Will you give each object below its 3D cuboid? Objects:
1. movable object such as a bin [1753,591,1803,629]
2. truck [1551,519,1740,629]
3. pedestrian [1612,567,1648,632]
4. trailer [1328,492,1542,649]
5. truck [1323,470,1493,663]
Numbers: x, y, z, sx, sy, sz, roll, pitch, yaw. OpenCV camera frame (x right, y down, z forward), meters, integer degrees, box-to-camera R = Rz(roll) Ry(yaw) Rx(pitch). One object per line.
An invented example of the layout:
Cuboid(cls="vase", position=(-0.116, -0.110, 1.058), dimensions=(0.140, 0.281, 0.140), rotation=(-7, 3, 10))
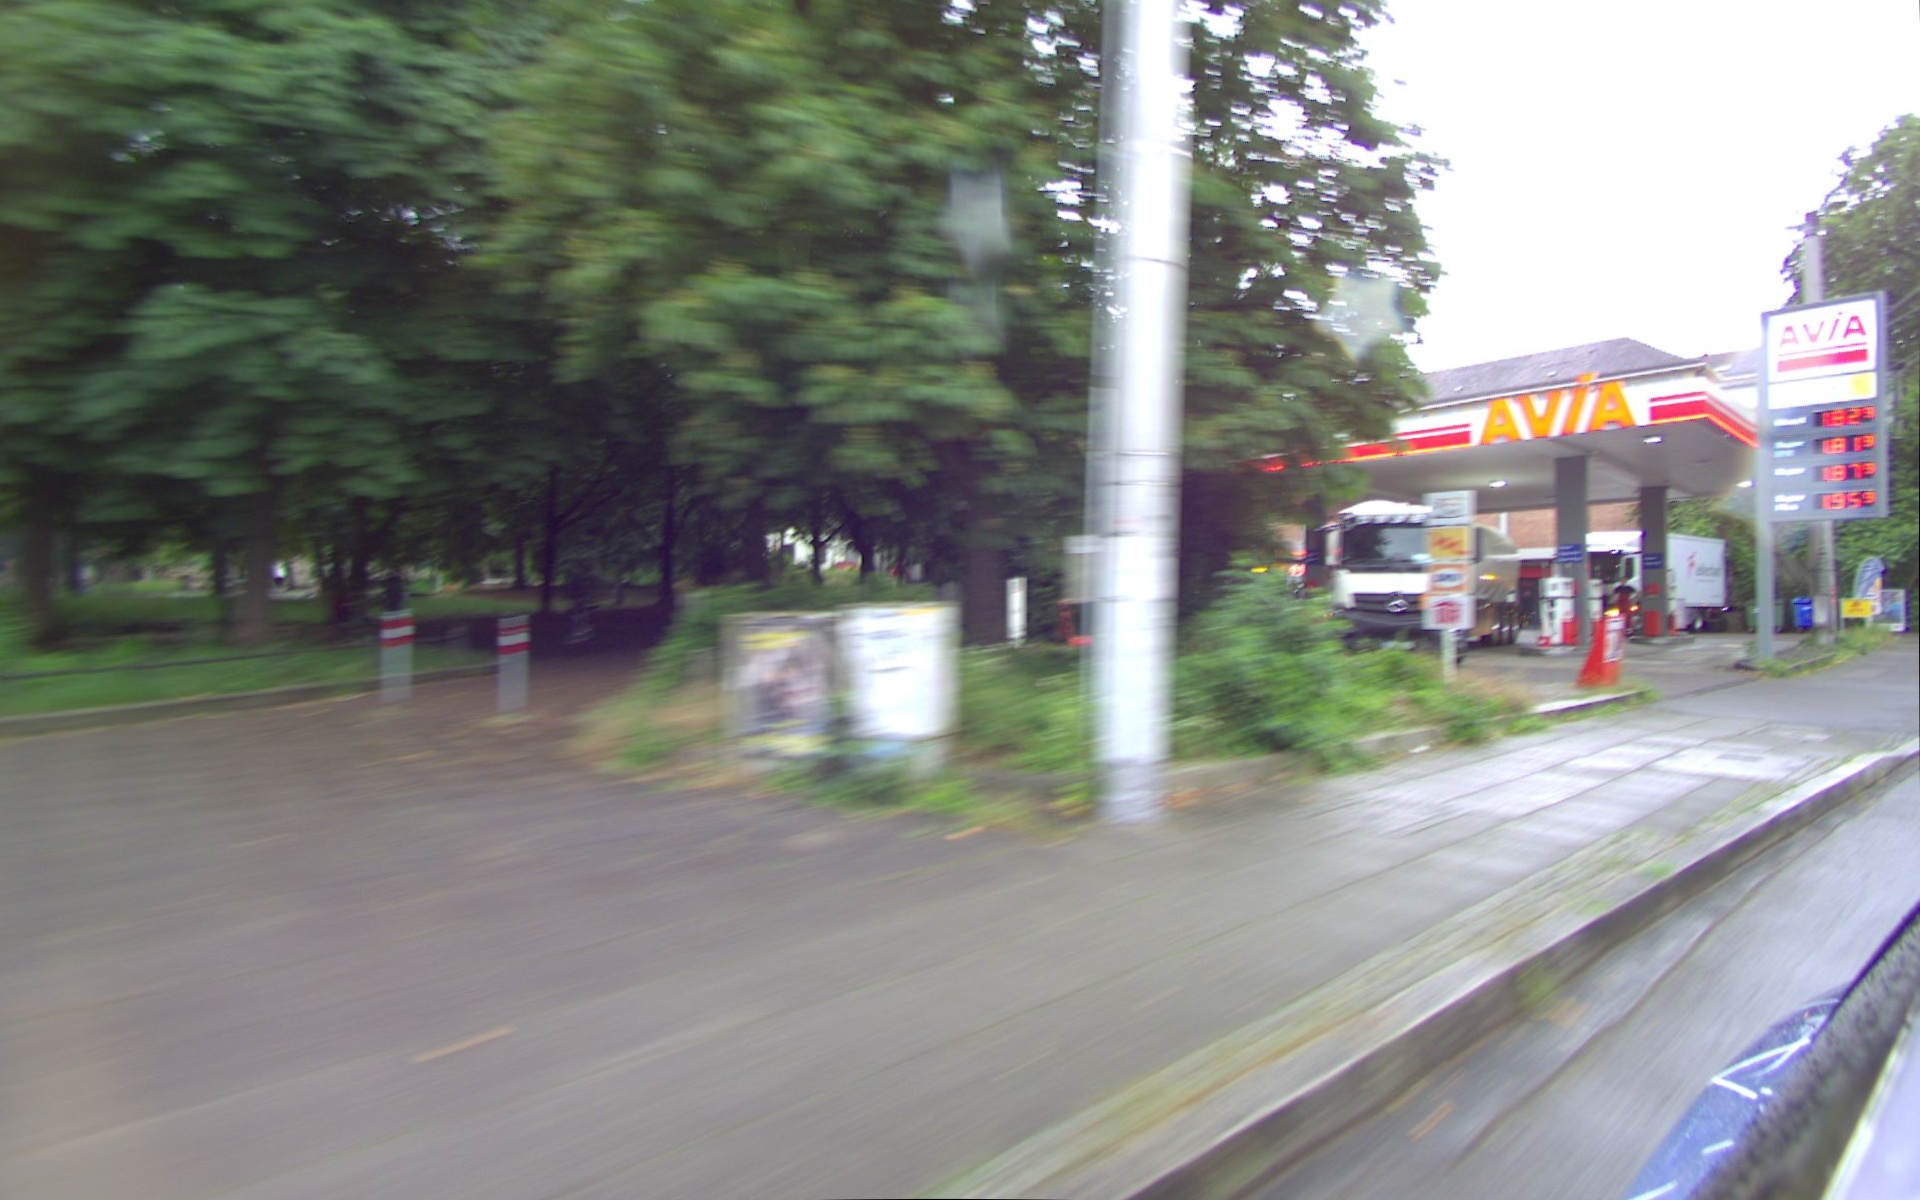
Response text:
Cuboid(cls="movable object such as a bin", position=(31.208, 0.366, 38.614), dimensions=(1.054, 1.418, 1.286), rotation=(0, 1, -39))
Cuboid(cls="truck", position=(25.467, -0.977, 37.355), dimensions=(10.066, 3.613, 2.661), rotation=(-2, 2, -37))
Cuboid(cls="pedestrian", position=(21.729, -0.030, 32.810), dimensions=(0.639, 2.066, 0.809), rotation=(0, 1, -40))
Cuboid(cls="trailer", position=(12.859, -0.786, 26.752), dimensions=(2.800, 3.438, 9.696), rotation=(1, 2, 40))
Cuboid(cls="truck", position=(9.250, -0.685, 21.414), dimensions=(2.803, 3.441, 6.084), rotation=(1, 1, 21))
